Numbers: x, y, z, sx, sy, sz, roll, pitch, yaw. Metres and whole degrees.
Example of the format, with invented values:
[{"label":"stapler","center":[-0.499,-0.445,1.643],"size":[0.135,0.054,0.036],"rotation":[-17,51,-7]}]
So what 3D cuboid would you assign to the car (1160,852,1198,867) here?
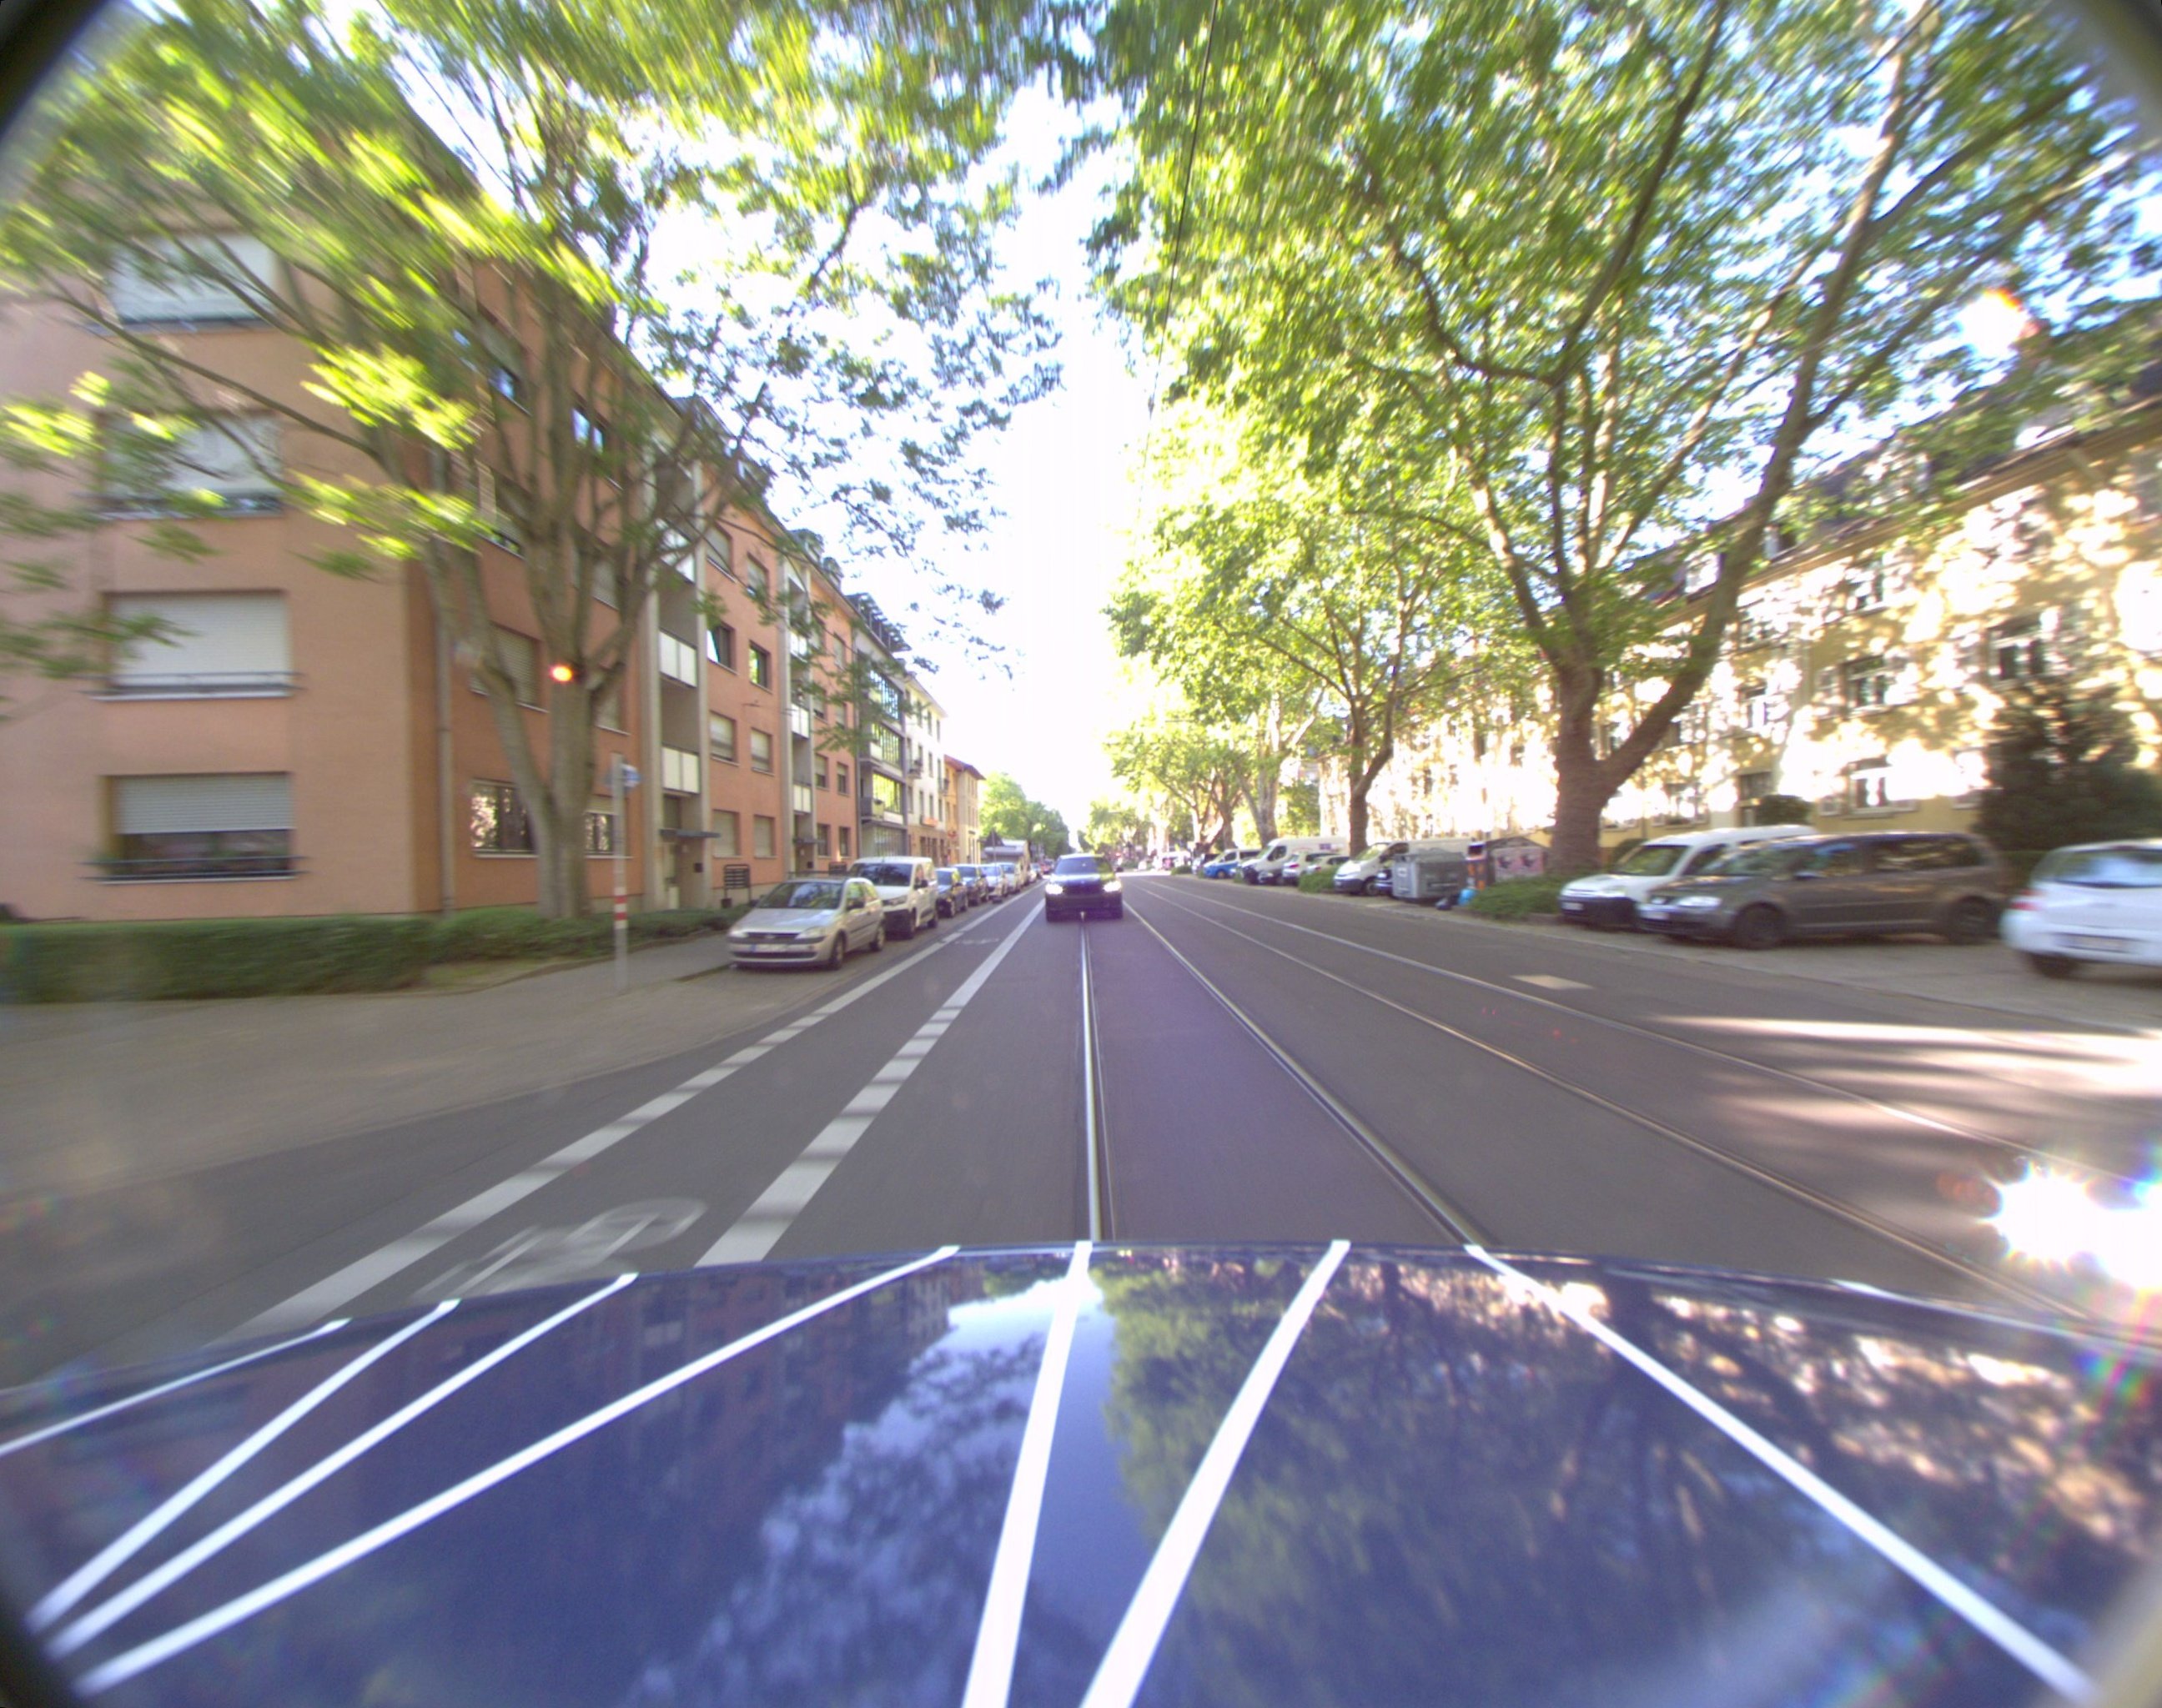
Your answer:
[{"label":"car","center":[11.579,0.655,90.257],"size":[4.171,1.506,1.925],"rotation":[-2,-1,-1]}]

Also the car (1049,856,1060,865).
[{"label":"car","center":[-4.749,1.144,135.500],"size":[1.815,1.701,4.372],"rotation":[0,0,0]}]

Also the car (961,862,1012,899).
[{"label":"car","center":[-4.129,1.120,33.815],"size":[1.793,1.513,4.321],"rotation":[0,0,-1]}]

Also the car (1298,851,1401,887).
[{"label":"car","center":[11.725,0.639,33.336],"size":[3.857,1.489,1.862],"rotation":[-1,0,1]}]

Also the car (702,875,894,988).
[{"label":"car","center":[-4.513,1.163,12.815],"size":[1.710,1.464,4.000],"rotation":[-1,0,0]}]

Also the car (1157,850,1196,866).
[{"label":"car","center":[11.614,0.553,92.910],"size":[4.464,1.755,2.028],"rotation":[-2,-1,-1]}]

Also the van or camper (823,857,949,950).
[{"label":"van or camper","center":[-4.418,1.024,17.975],"size":[1.759,1.853,4.830],"rotation":[-1,0,-1]}]

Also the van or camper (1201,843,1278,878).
[{"label":"van or camper","center":[10.985,0.431,52.972],"size":[4.832,2.177,2.119],"rotation":[-2,0,-1]}]

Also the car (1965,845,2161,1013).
[{"label":"car","center":[11.687,0.648,7.447],"size":[3.857,1.489,1.862],"rotation":[-1,0,1]}]

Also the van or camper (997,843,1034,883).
[{"label":"van or camper","center":[-4.453,0.609,52.332],"size":[2.138,2.647,4.979],"rotation":[0,0,0]}]

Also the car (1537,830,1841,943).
[{"label":"car","center":[10.950,0.546,13.858],"size":[4.210,1.747,1.739],"rotation":[-2,0,-3]}]

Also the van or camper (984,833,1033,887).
[{"label":"van or camper","center":[-4.312,0.337,46.167],"size":[2.468,3.046,6.267],"rotation":[0,0,-1]}]

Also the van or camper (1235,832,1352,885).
[{"label":"van or camper","center":[11.195,0.234,40.344],"size":[5.403,2.501,2.445],"rotation":[-2,0,0]}]

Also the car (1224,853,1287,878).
[{"label":"car","center":[11.293,0.761,49.233],"size":[3.540,1.451,1.695],"rotation":[-2,0,-6]}]

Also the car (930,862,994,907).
[{"label":"car","center":[-4.500,1.093,29.226],"size":[1.772,1.563,4.336],"rotation":[0,0,0]}]

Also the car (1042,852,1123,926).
[{"label":"car","center":[0.027,0.864,21.101],"size":[1.924,1.741,4.806],"rotation":[-2,0,0]}]

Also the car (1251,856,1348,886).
[{"label":"car","center":[10.818,0.830,37.818],"size":[4.275,1.390,1.753],"rotation":[-1,0,1]}]

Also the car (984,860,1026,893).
[{"label":"car","center":[-3.917,1.112,39.657],"size":[1.797,1.618,4.276],"rotation":[0,0,0]}]

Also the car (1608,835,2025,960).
[{"label":"car","center":[10.846,0.625,11.551],"size":[4.243,1.678,1.934],"rotation":[-1,0,7]}]

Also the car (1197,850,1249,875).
[{"label":"car","center":[11.078,0.646,59.431],"size":[3.691,1.804,1.704],"rotation":[-2,0,0]}]

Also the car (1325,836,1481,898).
[{"label":"car","center":[11.338,0.451,26.970],"size":[4.670,1.934,1.961],"rotation":[-2,0,-3]}]

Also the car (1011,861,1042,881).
[{"label":"car","center":[-4.166,1.269,59.058],"size":[1.998,1.485,4.740],"rotation":[0,0,1]}]

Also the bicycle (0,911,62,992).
[{"label":"bicycle","center":[-15.642,1.428,10.554],"size":[0.513,1.093,1.775],"rotation":[-3,1,1]}]

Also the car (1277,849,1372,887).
[{"label":"car","center":[11.364,0.660,35.647],"size":[3.857,1.653,1.862],"rotation":[-1,0,1]}]

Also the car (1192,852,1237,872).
[{"label":"car","center":[11.602,0.703,66.370],"size":[3.689,1.545,1.704],"rotation":[-2,0,6]}]

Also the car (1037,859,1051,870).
[{"label":"car","center":[-4.590,1.271,95.546],"size":[1.607,1.372,3.864],"rotation":[0,0,0]}]

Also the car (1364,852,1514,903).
[{"label":"car","center":[11.282,0.722,24.151],"size":[3.857,1.489,1.862],"rotation":[-1,0,1]}]

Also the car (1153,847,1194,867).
[{"label":"car","center":[11.967,0.399,98.788],"size":[5.019,2.383,2.028],"rotation":[-2,0,-1]}]

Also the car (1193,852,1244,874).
[{"label":"car","center":[11.165,0.720,61.781],"size":[3.693,1.615,1.799],"rotation":[-2,0,-5]}]

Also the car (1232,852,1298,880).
[{"label":"car","center":[11.320,0.734,46.871],"size":[3.691,1.556,1.613],"rotation":[-2,0,2]}]

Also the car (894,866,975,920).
[{"label":"car","center":[-4.539,1.173,24.063],"size":[1.710,1.464,4.168],"rotation":[-1,0,0]}]

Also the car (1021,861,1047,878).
[{"label":"car","center":[-4.226,1.382,68.801],"size":[1.999,1.372,4.739],"rotation":[0,0,0]}]
